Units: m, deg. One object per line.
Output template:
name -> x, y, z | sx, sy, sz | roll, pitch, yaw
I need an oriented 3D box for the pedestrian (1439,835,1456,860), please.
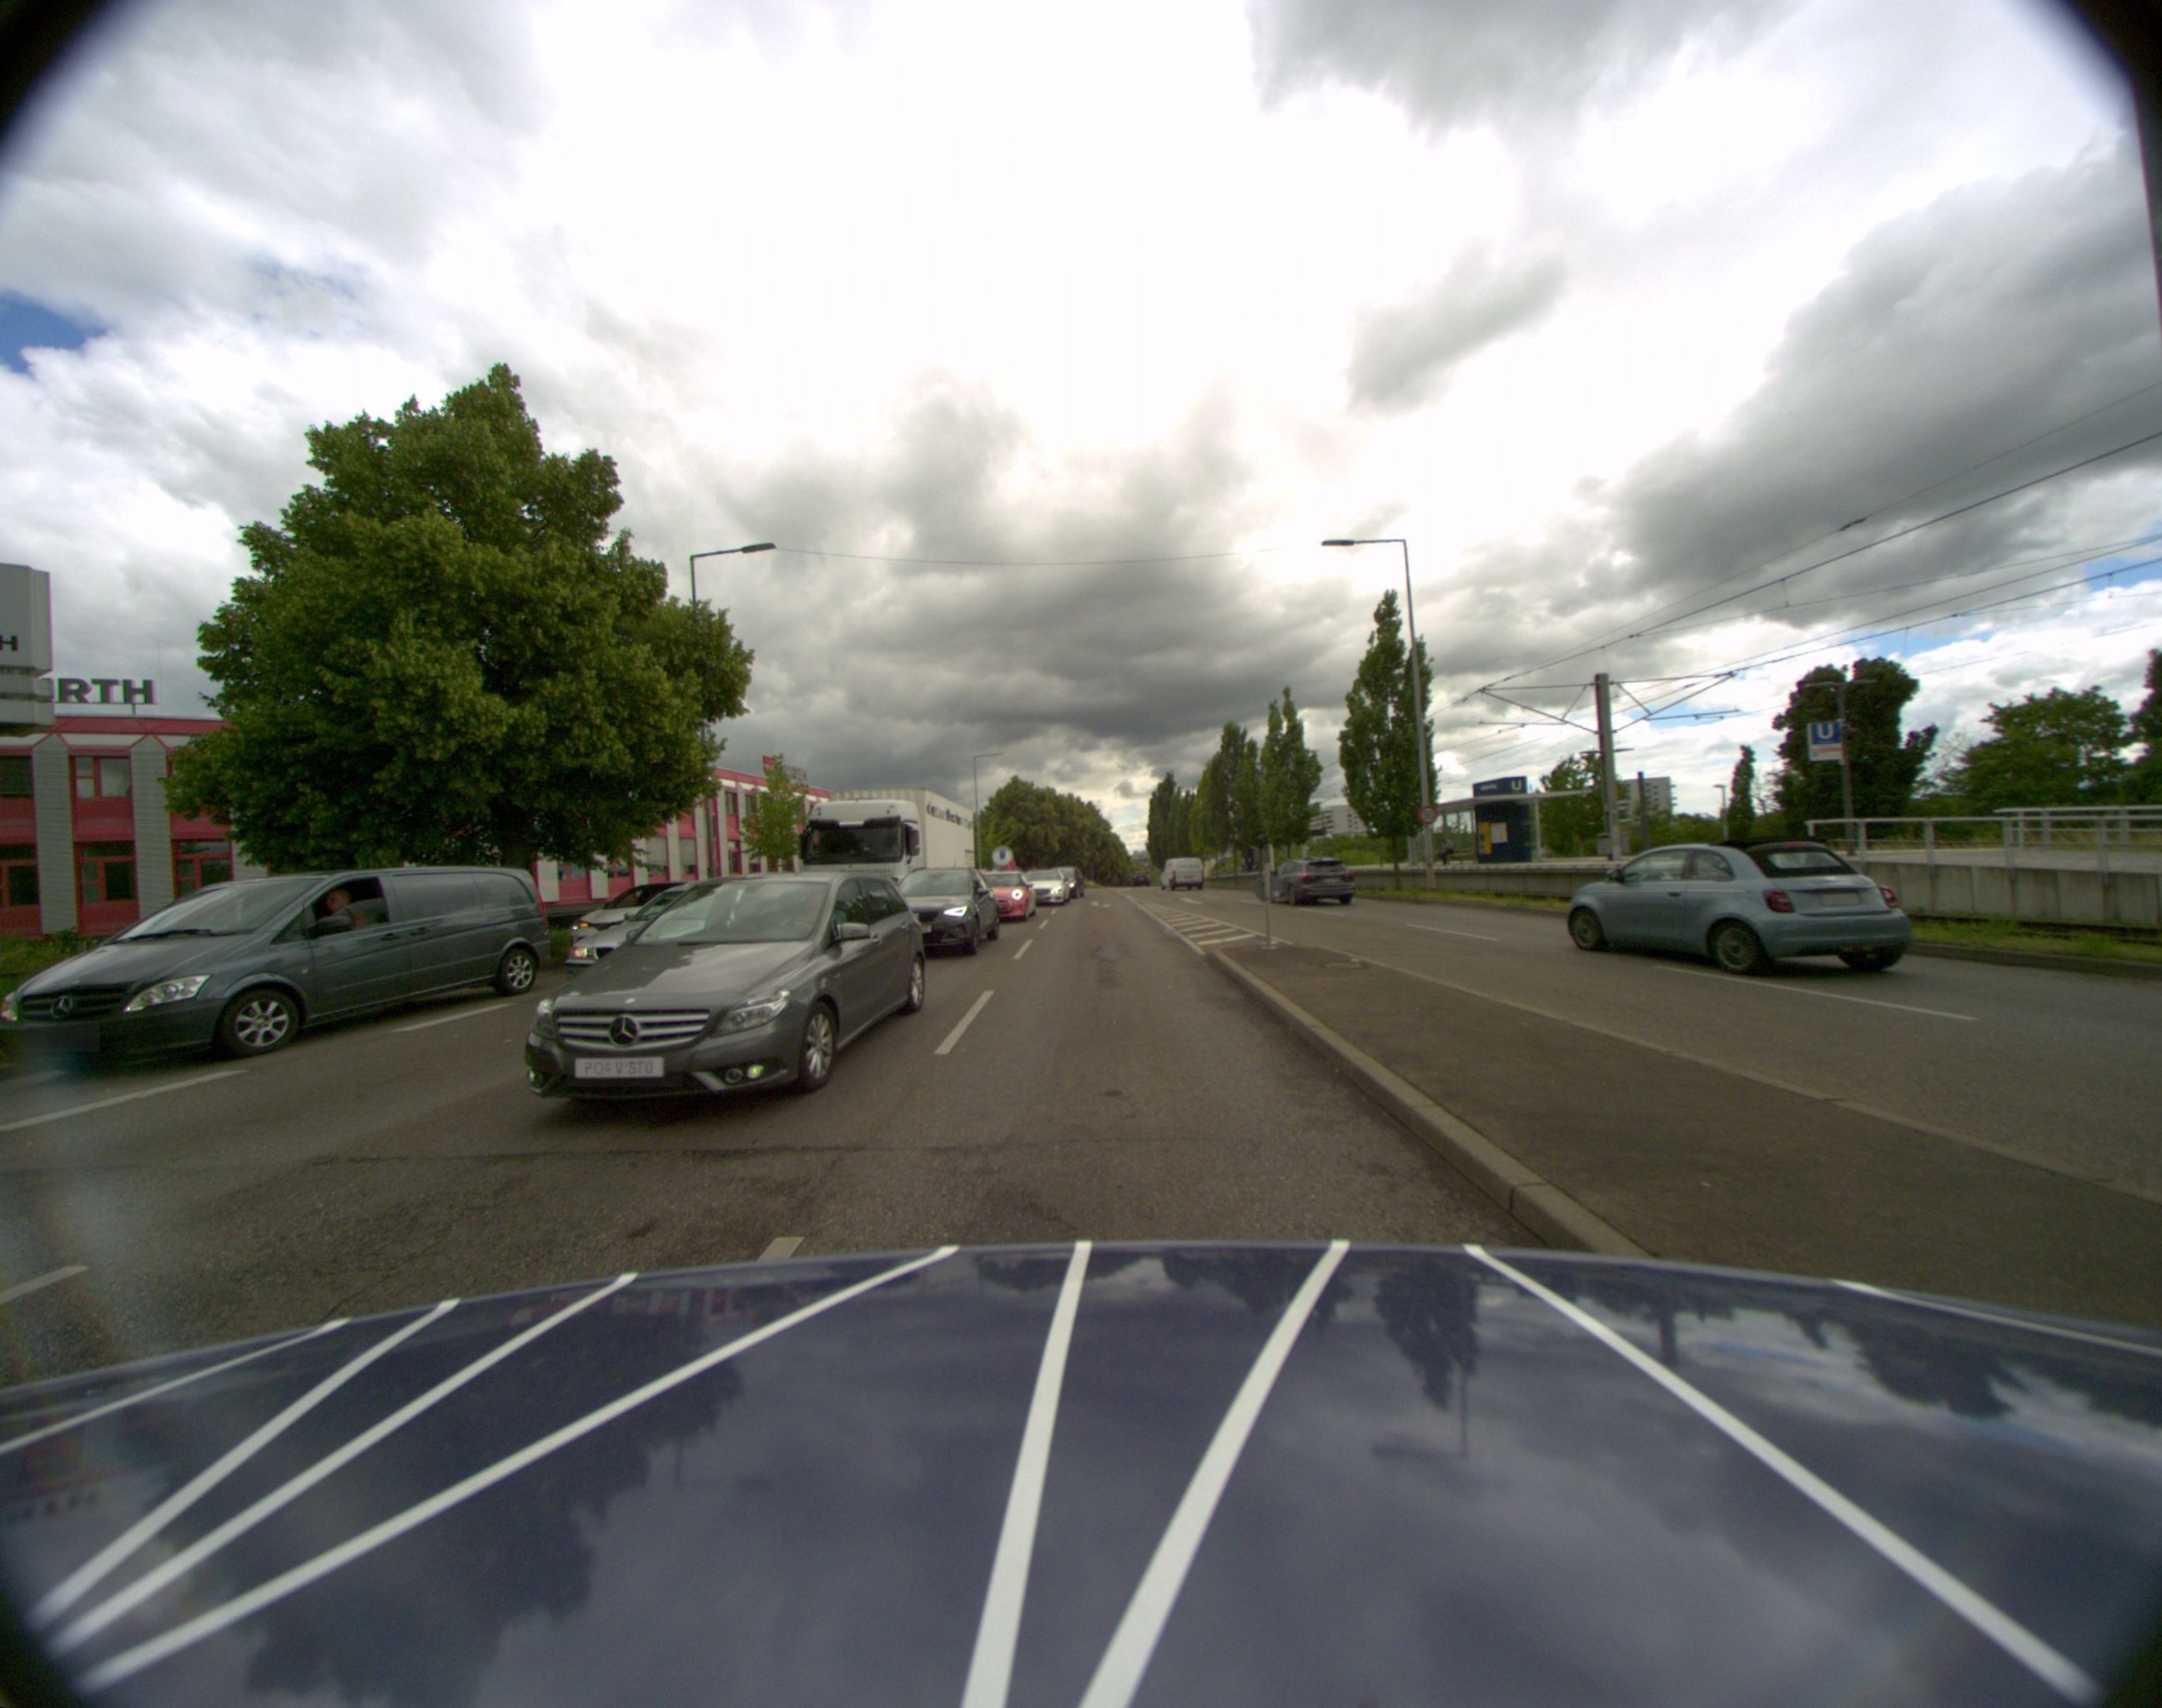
pedestrian -> 17.745, -0.311, 36.809 | 0.601, 1.148, 0.447 | -2, 1, 1

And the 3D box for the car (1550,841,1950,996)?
car -> 8.006, 0.642, 9.612 | 1.761, 1.519, 3.599 | -2, 1, -4

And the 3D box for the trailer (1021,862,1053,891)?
trailer -> -2.964, 1.526, 52.209 | 1.775, 1.650, 3.995 | -2, 2, 1

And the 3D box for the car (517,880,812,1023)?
car -> -5.528, 1.195, 10.850 | 1.750, 1.375, 4.290 | -2, 1, 1

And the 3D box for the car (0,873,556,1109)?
car -> -8.741, 1.251, 8.813 | 1.763, 1.764, 4.675 | -6, 0, 2

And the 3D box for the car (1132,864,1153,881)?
car -> 5.913, 1.785, 73.363 | 1.700, 1.440, 3.660 | -2, 0, 0

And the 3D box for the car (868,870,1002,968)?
car -> -2.532, 1.077, 14.037 | 1.628, 1.484, 3.838 | -2, -1, 1

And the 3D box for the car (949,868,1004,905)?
car -> -4.765, 1.443, 35.247 | 1.851, 1.521, 4.377 | -2, -1, 0

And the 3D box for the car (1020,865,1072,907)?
car -> -1.353, 1.243, 30.943 | 1.804, 1.403, 4.316 | -2, 1, 0

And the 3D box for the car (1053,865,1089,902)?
car -> -0.464, 1.422, 37.874 | 1.669, 1.589, 3.996 | -2, 1, 0

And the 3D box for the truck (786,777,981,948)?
truck -> -5.285, 0.213, 22.826 | 2.809, 3.880, 10.182 | -2, 0, 2

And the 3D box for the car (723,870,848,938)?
car -> -8.446, 1.373, 22.159 | 1.865, 1.648, 4.209 | -4, -1, 1

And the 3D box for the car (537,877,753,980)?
car -> -8.595, 1.383, 15.486 | 1.844, 1.507, 4.106 | -6, 0, 1

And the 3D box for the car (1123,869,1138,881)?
car -> 6.218, 2.607, 95.473 | 1.699, 1.440, 3.935 | -2, -1, 3

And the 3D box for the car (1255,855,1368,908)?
car -> 7.187, 0.790, 24.227 | 1.876, 1.416, 4.430 | -2, 1, -5

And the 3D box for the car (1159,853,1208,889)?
car -> 6.150, 0.956, 46.267 | 1.920, 1.953, 5.371 | -2, 1, -4

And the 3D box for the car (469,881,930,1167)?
car -> -2.609, 1.057, 6.413 | 1.750, 1.499, 4.048 | -2, -1, 1

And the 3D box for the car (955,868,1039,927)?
car -> -2.312, 1.173, 21.794 | 1.825, 1.497, 3.495 | -2, -1, 2
